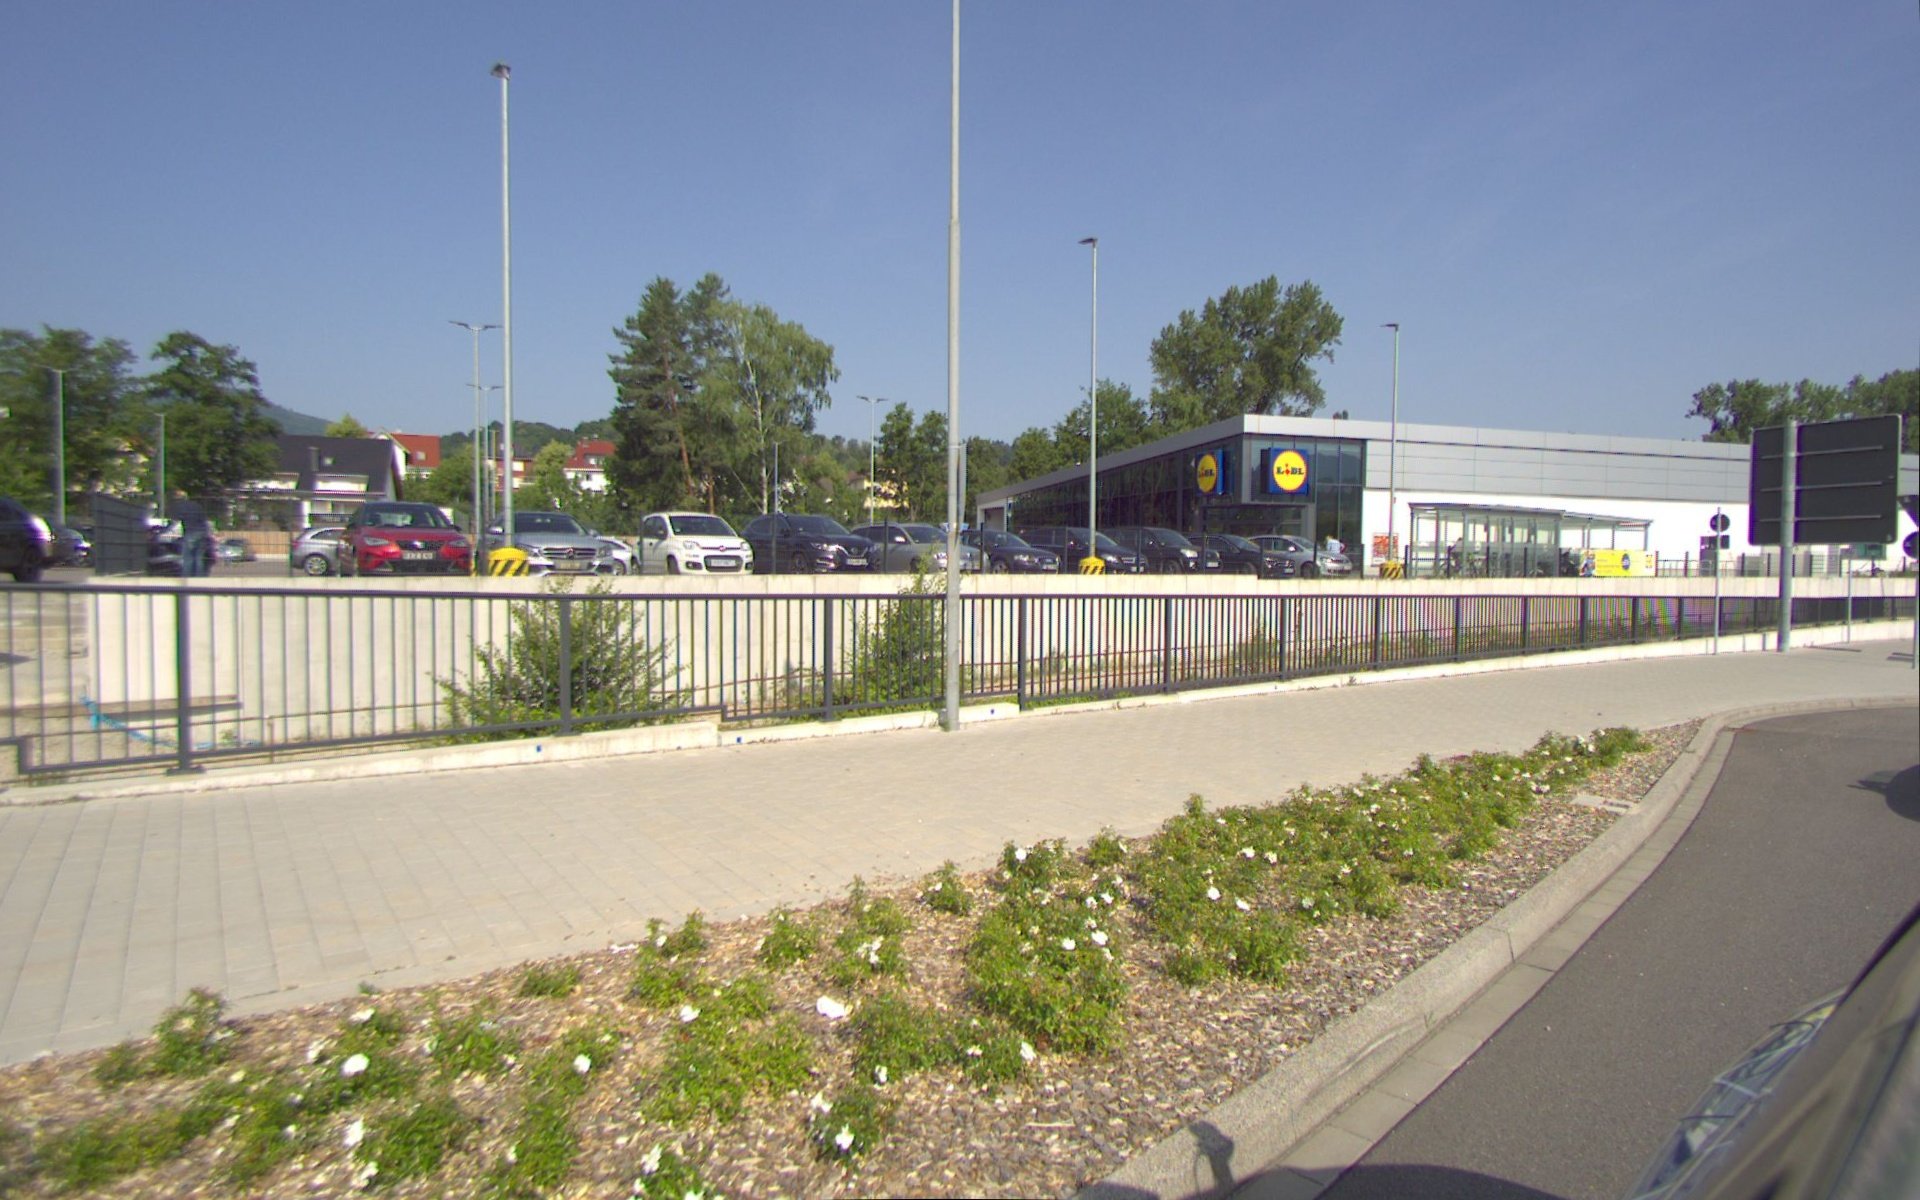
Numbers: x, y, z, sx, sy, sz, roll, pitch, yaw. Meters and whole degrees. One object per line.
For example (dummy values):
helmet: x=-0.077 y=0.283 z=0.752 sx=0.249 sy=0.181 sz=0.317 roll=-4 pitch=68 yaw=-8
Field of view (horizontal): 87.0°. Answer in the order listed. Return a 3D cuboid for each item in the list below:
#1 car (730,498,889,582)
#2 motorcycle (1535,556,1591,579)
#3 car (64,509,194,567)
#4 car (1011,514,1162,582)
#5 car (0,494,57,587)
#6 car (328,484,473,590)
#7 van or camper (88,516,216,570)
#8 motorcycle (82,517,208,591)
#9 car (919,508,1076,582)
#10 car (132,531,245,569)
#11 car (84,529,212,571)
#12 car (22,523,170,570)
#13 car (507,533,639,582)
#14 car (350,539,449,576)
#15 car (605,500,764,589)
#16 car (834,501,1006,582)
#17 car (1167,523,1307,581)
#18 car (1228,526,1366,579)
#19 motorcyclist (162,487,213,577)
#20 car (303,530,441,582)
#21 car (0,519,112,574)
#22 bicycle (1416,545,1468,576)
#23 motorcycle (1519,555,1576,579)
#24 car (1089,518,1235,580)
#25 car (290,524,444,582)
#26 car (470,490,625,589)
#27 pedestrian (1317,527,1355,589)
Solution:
car: x=-3.394 y=-1.242 z=22.337 sx=1.673 sy=1.594 sz=3.995 roll=0 pitch=0 yaw=-39
motorcycle: x=23.663 y=-1.265 z=39.723 sx=1.865 sy=0.875 sz=0.619 roll=-1 pitch=0 yaw=34
car: x=-40.909 y=-3.005 z=49.951 sx=4.550 sy=2.650 sz=2.004 roll=-1 pitch=0 yaw=-23
car: x=3.328 y=-1.324 z=27.189 sx=1.673 sy=1.594 sz=3.995 roll=0 pitch=0 yaw=-39
car: x=-17.821 y=-1.059 z=17.420 sx=1.794 sy=1.622 sz=4.486 roll=-1 pitch=0 yaw=-19
car: x=-9.955 y=-1.002 z=17.866 sx=1.746 sy=1.594 sz=4.020 roll=0 pitch=0 yaw=-36
van or camper: x=-45.370 y=-3.140 z=56.969 sx=5.176 sy=2.884 sz=2.299 roll=-1 pitch=0 yaw=-23
motorcycle: x=-14.153 y=-0.772 z=17.645 sx=0.580 sy=1.206 sz=1.901 roll=1 pitch=1 yaw=4
car: x=0.852 y=-1.293 z=25.163 sx=1.673 sy=1.594 sz=3.995 roll=0 pitch=0 yaw=-39
car: x=-34.904 y=-2.245 z=45.889 sx=3.708 sy=1.594 sz=1.766 roll=-1 pitch=0 yaw=-22
car: x=-33.008 y=-2.005 z=41.271 sx=3.708 sy=1.594 sz=1.766 roll=-1 pitch=0 yaw=-22
car: x=-31.293 y=-1.915 z=36.774 sx=3.708 sy=1.594 sz=1.766 roll=-1 pitch=0 yaw=-22
car: x=-12.731 y=-1.362 z=33.324 sx=3.918 sy=1.476 sz=1.803 roll=-1 pitch=0 yaw=-26
car: x=-25.277 y=-1.897 z=45.749 sx=3.708 sy=1.594 sz=1.766 roll=-1 pitch=0 yaw=-22
car: x=-5.745 y=-1.053 z=20.818 sx=1.673 sy=1.594 sz=3.995 roll=0 pitch=0 yaw=-39
car: x=-1.029 y=-1.270 z=23.498 sx=1.673 sy=1.594 sz=4.410 roll=0 pitch=0 yaw=-39
car: x=8.608 y=-1.449 z=31.676 sx=1.673 sy=1.594 sz=3.995 roll=0 pitch=0 yaw=-39
car: x=11.207 y=-1.532 z=33.876 sx=1.673 sy=1.594 sz=4.126 roll=0 pitch=0 yaw=-39
motorcyclist: x=-13.850 y=-1.201 z=18.151 sx=0.510 sy=1.562 sz=0.576 roll=-1 pitch=-1 yaw=30
car: x=-19.190 y=-1.411 z=33.211 sx=3.708 sy=1.594 sz=1.669 roll=-1 pitch=0 yaw=-22
car: x=-28.644 y=-1.618 z=31.004 sx=3.708 sy=1.594 sz=1.766 roll=-1 pitch=0 yaw=-22
bicycle: x=17.724 y=-1.455 z=37.200 sx=1.839 sy=1.107 sz=0.628 roll=-1 pitch=0 yaw=-22
motorcycle: x=22.733 y=-1.254 z=39.159 sx=1.865 sy=0.875 sz=0.619 roll=-1 pitch=0 yaw=34
car: x=5.796 y=-1.415 z=29.370 sx=1.673 sy=1.594 sz=3.995 roll=0 pitch=0 yaw=-39
car: x=-18.066 y=-1.397 z=31.047 sx=3.918 sy=1.638 sz=2.003 roll=-1 pitch=0 yaw=-26
car: x=-7.796 y=-1.028 z=18.903 sx=1.746 sy=1.594 sz=4.020 roll=0 pitch=0 yaw=-36
pedestrian: x=12.709 y=-1.417 z=34.253 sx=0.845 sy=2.039 sz=0.834 roll=0 pitch=-1 yaw=-24
